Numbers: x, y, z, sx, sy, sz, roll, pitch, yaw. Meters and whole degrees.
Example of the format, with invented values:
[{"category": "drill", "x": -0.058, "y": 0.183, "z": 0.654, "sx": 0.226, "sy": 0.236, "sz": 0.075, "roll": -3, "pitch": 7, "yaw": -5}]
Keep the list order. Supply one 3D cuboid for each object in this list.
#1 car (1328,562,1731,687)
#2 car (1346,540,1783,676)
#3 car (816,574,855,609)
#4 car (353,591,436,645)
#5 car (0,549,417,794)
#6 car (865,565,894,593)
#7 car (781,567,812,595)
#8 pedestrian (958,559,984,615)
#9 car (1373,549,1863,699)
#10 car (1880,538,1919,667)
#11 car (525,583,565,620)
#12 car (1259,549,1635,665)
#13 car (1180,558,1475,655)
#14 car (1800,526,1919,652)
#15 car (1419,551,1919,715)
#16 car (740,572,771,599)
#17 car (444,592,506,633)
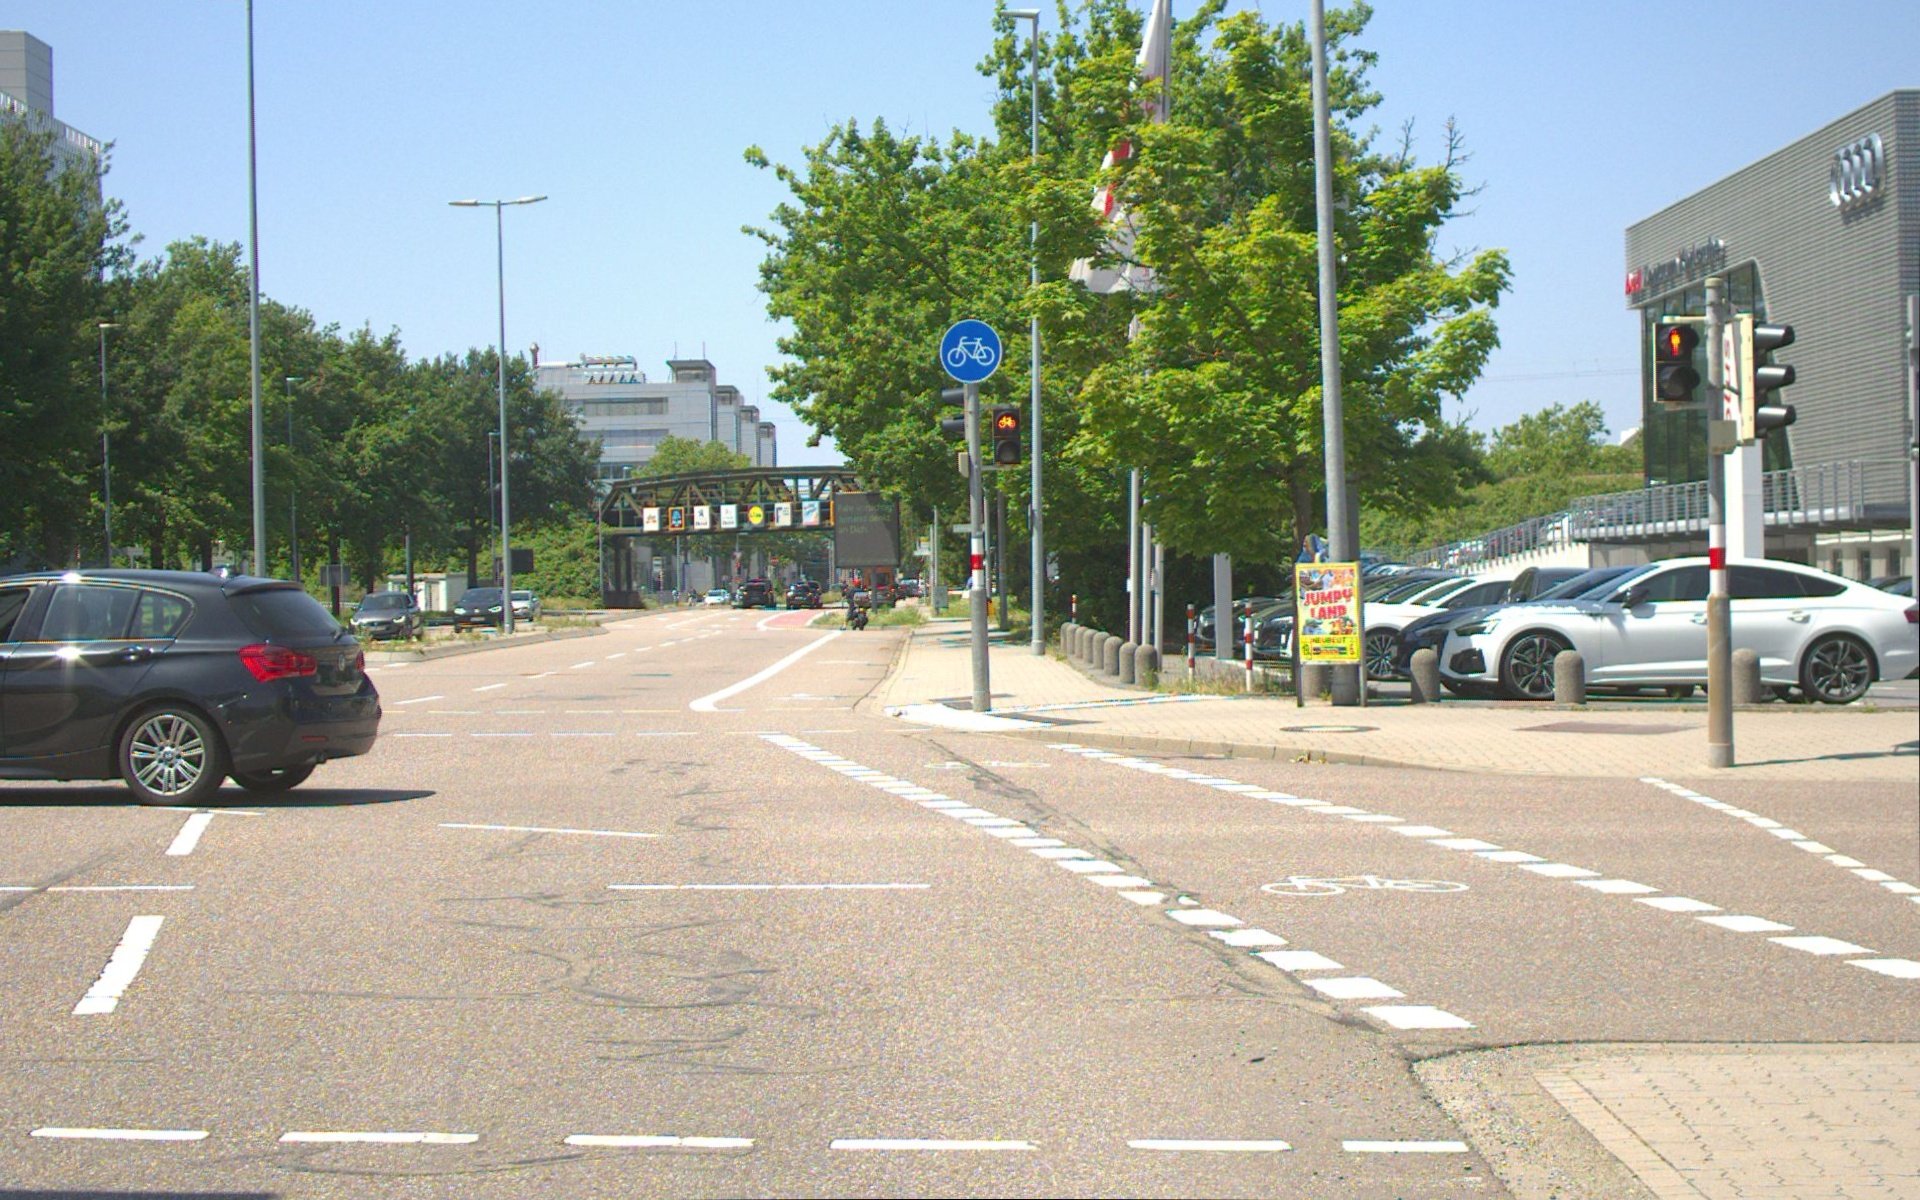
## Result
[{"category": "car", "x": 7.200, "y": 0.289, "z": 43.766, "sx": 4.741, "sy": 1.452, "sz": 2.000, "roll": -1, "pitch": 1, "yaw": -2}, {"category": "car", "x": 6.960, "y": 0.073, "z": 39.944, "sx": 4.741, "sy": 1.452, "sz": 2.000, "roll": -1, "pitch": 1, "yaw": 2}, {"category": "car", "x": -3.807, "y": -0.270, "z": 105.418, "sx": 1.137, "sy": 1.038, "sz": 2.308, "roll": -1, "pitch": 1, "yaw": -1}, {"category": "car", "x": -16.177, "y": 0.507, "z": 98.476, "sx": 1.732, "sy": 1.422, "sz": 3.706, "roll": -3, "pitch": 0, "yaw": -1}, {"category": "car", "x": -5.634, "y": 0.435, "z": 21.078, "sx": 4.224, "sy": 1.406, "sz": 1.671, "roll": -1, "pitch": 0, "yaw": 10}, {"category": "car", "x": -5.148, "y": -1.357, "z": 220.736, "sx": 1.772, "sy": 1.722, "sz": 4.000, "roll": -1, "pitch": 0, "yaw": -1}, {"category": "car", "x": -10.449, "y": -1.235, "z": 220.055, "sx": 1.772, "sy": 1.722, "sz": 4.000, "roll": -1, "pitch": 0, "yaw": -1}, {"category": "pedestrian", "x": 0.298, "y": -0.357, "z": 94.726, "sx": 0.668, "sy": 1.505, "sz": 0.736, "roll": -1, "pitch": 0, "yaw": -1}, {"category": "car", "x": 6.794, "y": 0.249, "z": 35.915, "sx": 4.741, "sy": 1.452, "sz": 2.000, "roll": -1, "pitch": 0, "yaw": 2}, {"category": "car", "x": 16.835, "y": -0.009, "z": 54.386, "sx": 3.987, "sy": 2.007, "sz": 2.000, "roll": -1, "pitch": 1, "yaw": 1}, {"category": "car", "x": -19.367, "y": 0.040, "z": 160.654, "sx": 1.648, "sy": 1.647, "sz": 4.164, "roll": -1, "pitch": 1, "yaw": -5}, {"category": "car", "x": 6.548, "y": 0.075, "z": 46.564, "sx": 4.741, "sy": 1.452, "sz": 2.000, "roll": -1, "pitch": 1, "yaw": -2}, {"category": "car", "x": 6.253, "y": 0.100, "z": 58.833, "sx": 4.741, "sy": 1.452, "sz": 2.000, "roll": -2, "pitch": 1, "yaw": -2}, {"category": "car", "x": 16.133, "y": -0.217, "z": 56.814, "sx": 3.987, "sy": 2.007, "sz": 2.000, "roll": -1, "pitch": 1, "yaw": 1}, {"category": "car", "x": 6.938, "y": 0.299, "z": 33.248, "sx": 4.741, "sy": 1.452, "sz": 2.000, "roll": -1, "pitch": 1, "yaw": 2}, {"category": "car", "x": -13.398, "y": -0.971, "z": 225.511, "sx": 1.772, "sy": 1.722, "sz": 4.000, "roll": -1, "pitch": 0, "yaw": -1}, {"category": "car", "x": -17.181, "y": 0.429, "z": 121.892, "sx": 1.684, "sy": 1.406, "sz": 3.665, "roll": -1, "pitch": 0, "yaw": -1}]
